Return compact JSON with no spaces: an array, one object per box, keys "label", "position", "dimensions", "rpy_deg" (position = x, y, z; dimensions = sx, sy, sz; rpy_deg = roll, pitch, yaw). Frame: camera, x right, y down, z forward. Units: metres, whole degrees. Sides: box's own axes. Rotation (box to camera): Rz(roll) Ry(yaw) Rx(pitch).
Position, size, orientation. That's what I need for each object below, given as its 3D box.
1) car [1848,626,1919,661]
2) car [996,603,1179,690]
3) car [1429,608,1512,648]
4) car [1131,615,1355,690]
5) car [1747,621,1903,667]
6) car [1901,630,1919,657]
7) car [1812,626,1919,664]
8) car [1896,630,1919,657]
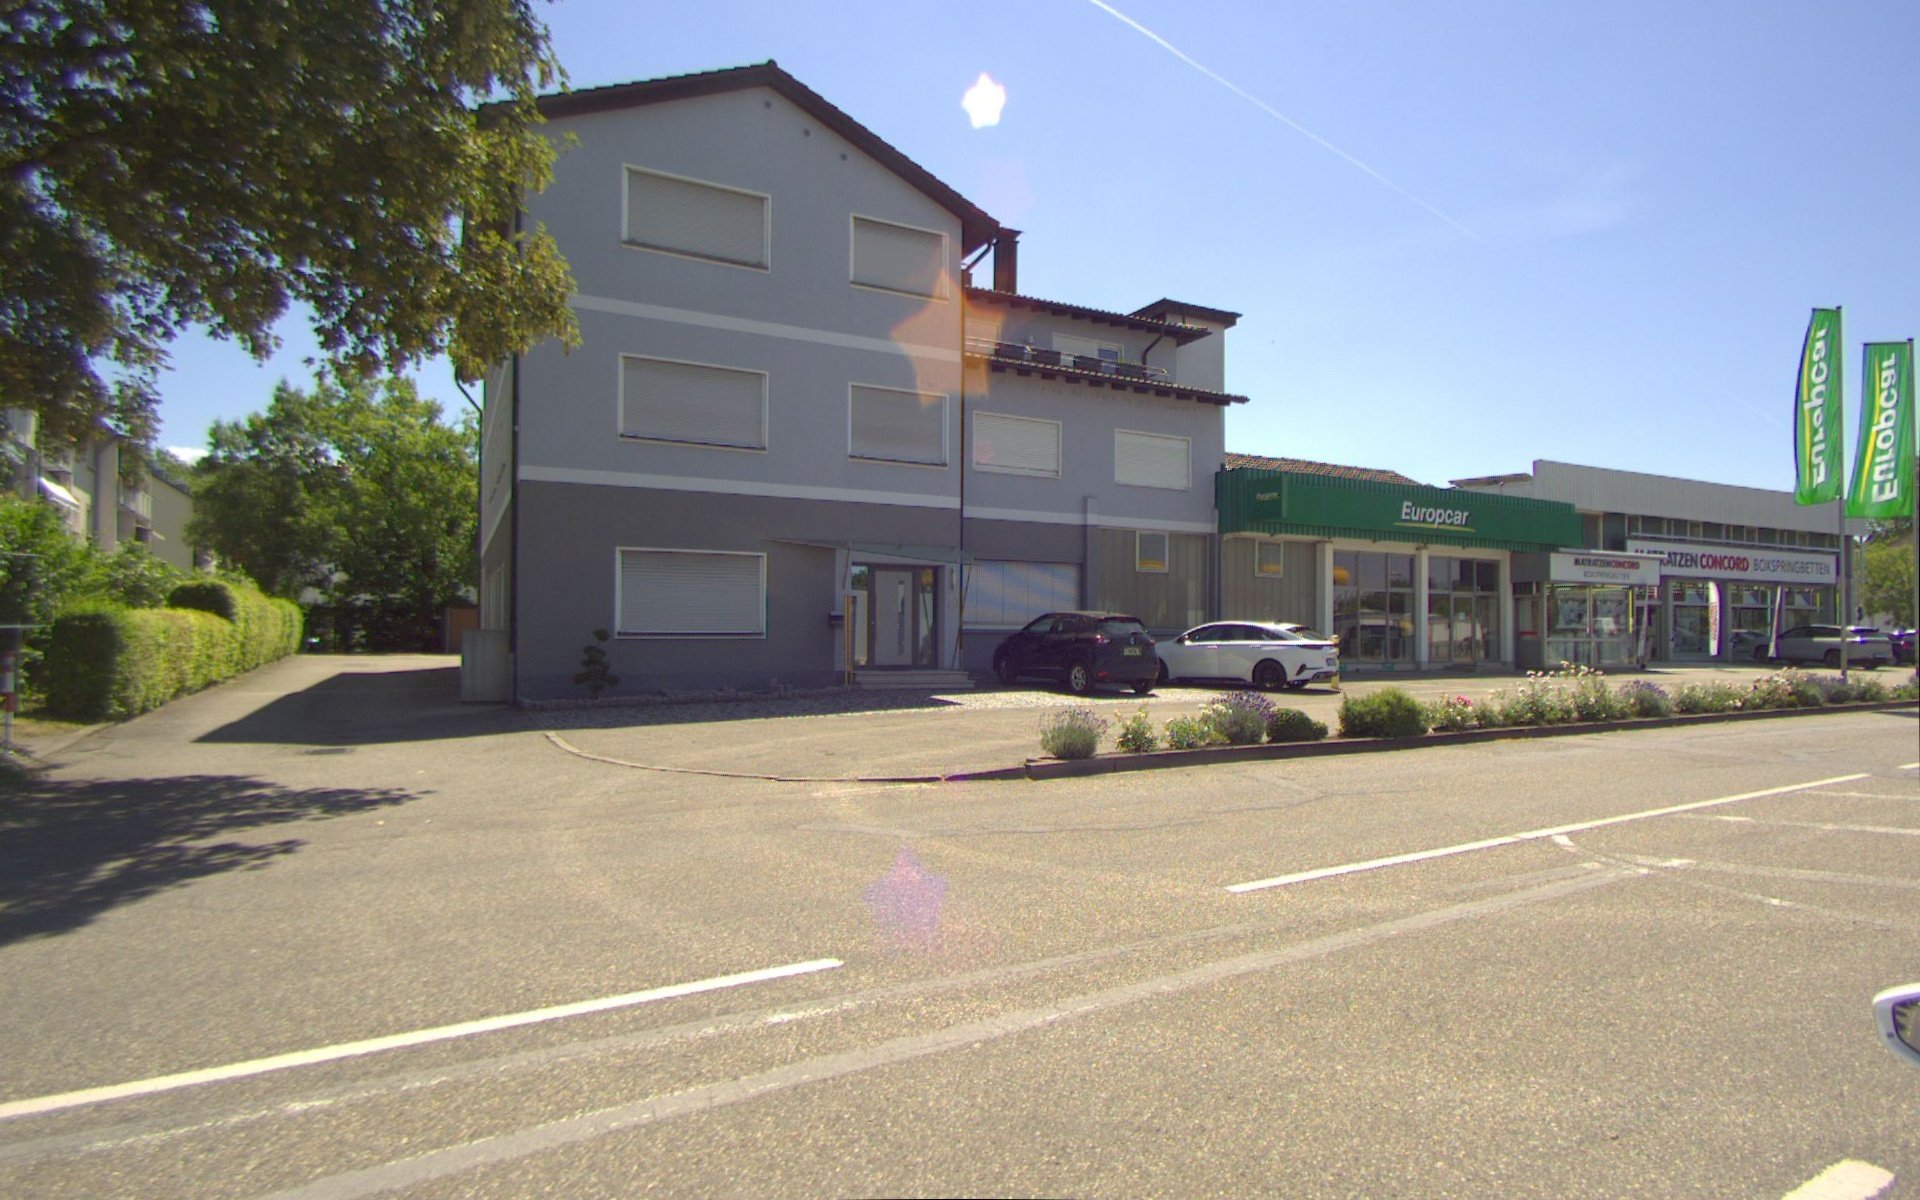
[{"label":"car","position":[41.391,1.866,43.417],"dimensions":[1.946,1.466,4.187],"rpy_deg":[1,-1,-13]},{"label":"car","position":[2.492,0.903,20.357],"dimensions":[1.946,1.585,3.544],"rpy_deg":[2,-2,-30]},{"label":"car","position":[36.325,2.017,71.411],"dimensions":[5.825,2.662,2.272],"rpy_deg":[2,0,-28]},{"label":"car","position":[6.072,1.071,21.786],"dimensions":[4.287,1.458,1.932],"rpy_deg":[0,-2,38]},{"label":"car","position":[34.417,1.716,40.148],"dimensions":[1.964,1.686,4.536],"rpy_deg":[1,-1,-11]},{"label":"car","position":[62.249,2.798,62.979],"dimensions":[2.089,1.677,4.293],"rpy_deg":[2,-1,-29]},{"label":"car","position":[38.734,1.861,42.519],"dimensions":[1.964,1.494,3.631],"rpy_deg":[1,-1,-11]},{"label":"car","position":[58.168,2.613,59.155],"dimensions":[1.751,1.610,4.210],"rpy_deg":[2,-1,-33]}]
